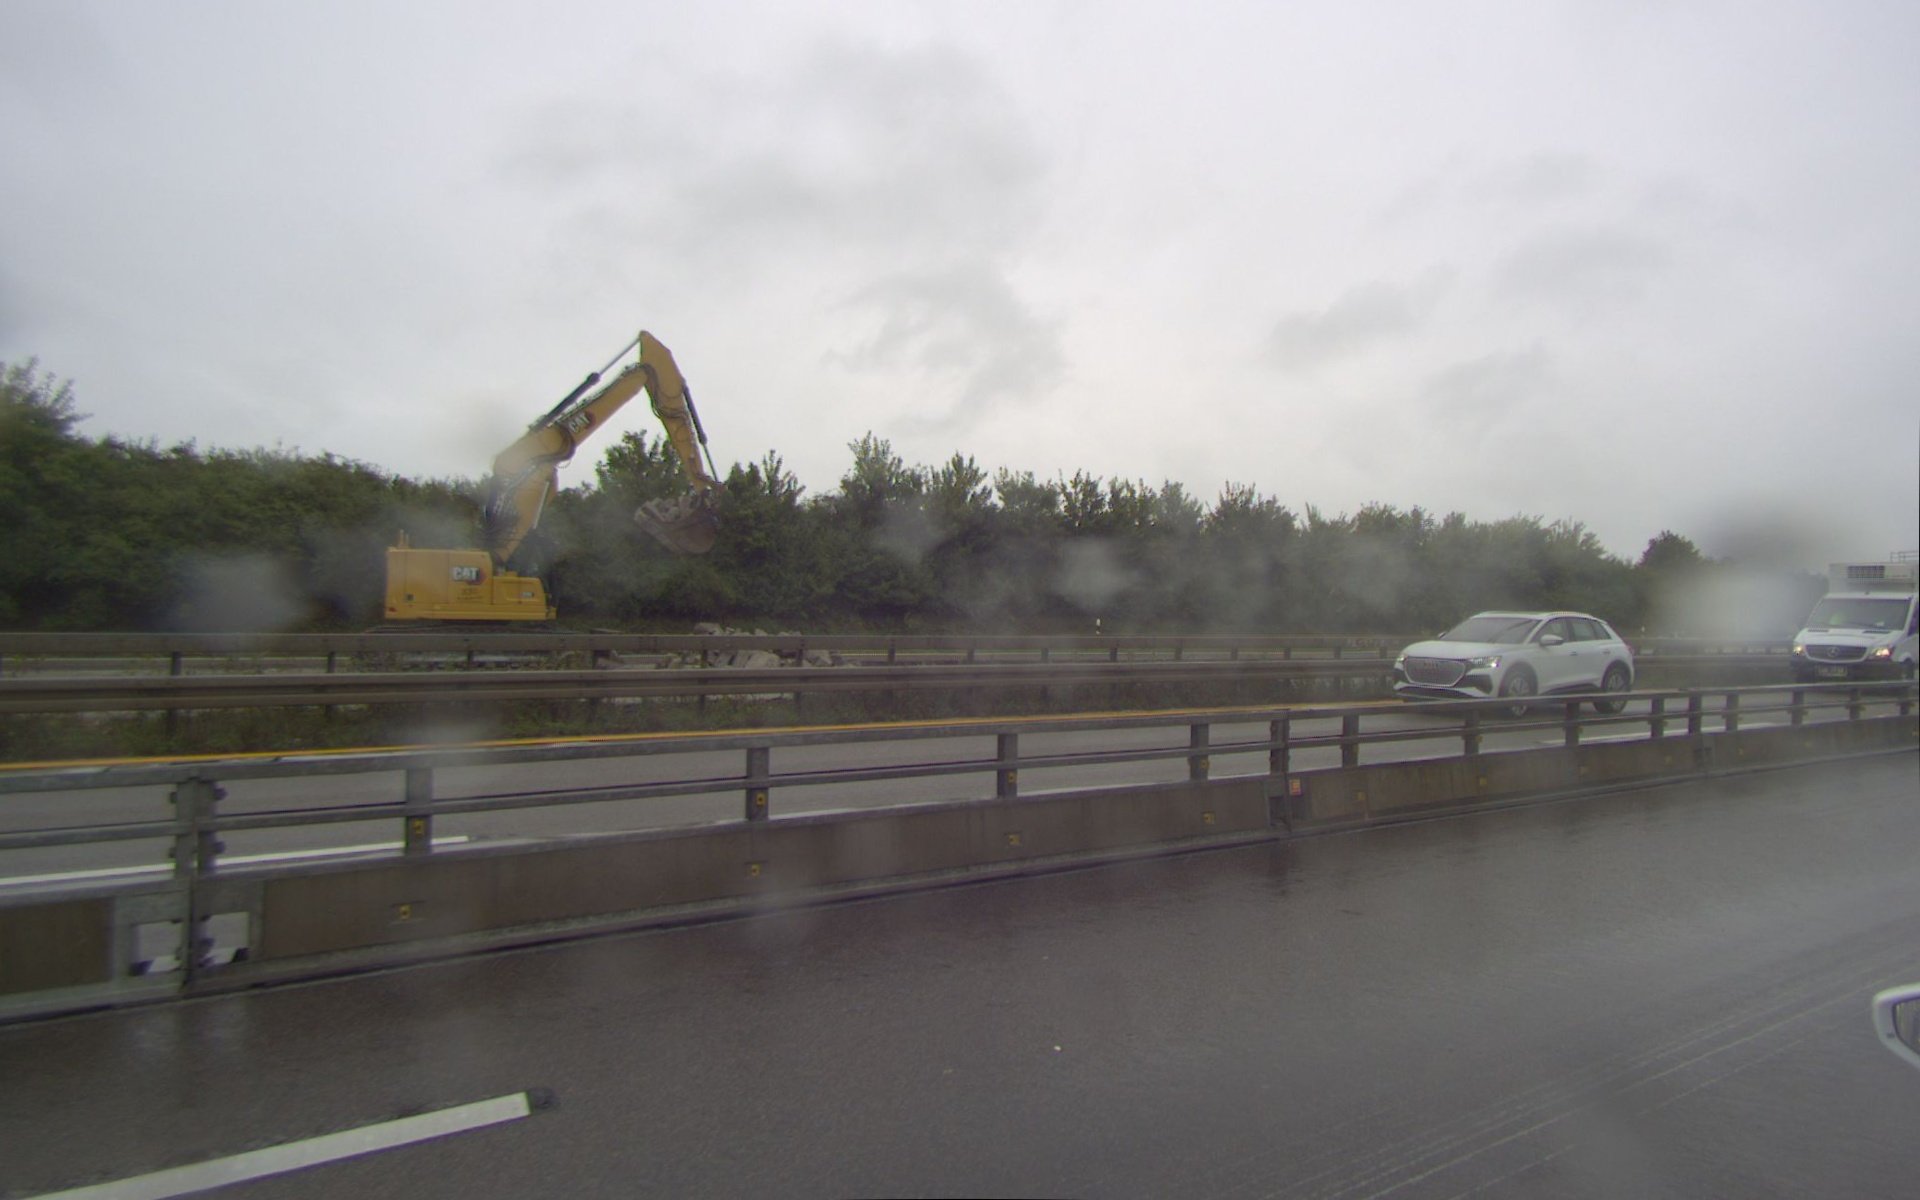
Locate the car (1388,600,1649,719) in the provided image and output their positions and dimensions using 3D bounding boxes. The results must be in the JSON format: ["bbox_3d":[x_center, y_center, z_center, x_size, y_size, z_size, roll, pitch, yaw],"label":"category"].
[{"bbox_3d":[9.125,0.929,16.313,4.490,1.690,1.628,2,0,-30],"label":"car"}]

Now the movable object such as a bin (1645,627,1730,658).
[{"bbox_3d":[38.200,2.243,52.759,3.952,1.444,2.116,2,0,-29],"label":"movable object such as a bin"}]

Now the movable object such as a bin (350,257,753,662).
[{"bbox_3d":[-9.620,-2.772,24.118,8.207,8.252,3.580,2,0,-29],"label":"movable object such as a bin"}]

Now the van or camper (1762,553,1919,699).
[{"bbox_3d":[21.936,0.639,23.830,6.621,3.082,2.282,2,0,-30],"label":"van or camper"}]
